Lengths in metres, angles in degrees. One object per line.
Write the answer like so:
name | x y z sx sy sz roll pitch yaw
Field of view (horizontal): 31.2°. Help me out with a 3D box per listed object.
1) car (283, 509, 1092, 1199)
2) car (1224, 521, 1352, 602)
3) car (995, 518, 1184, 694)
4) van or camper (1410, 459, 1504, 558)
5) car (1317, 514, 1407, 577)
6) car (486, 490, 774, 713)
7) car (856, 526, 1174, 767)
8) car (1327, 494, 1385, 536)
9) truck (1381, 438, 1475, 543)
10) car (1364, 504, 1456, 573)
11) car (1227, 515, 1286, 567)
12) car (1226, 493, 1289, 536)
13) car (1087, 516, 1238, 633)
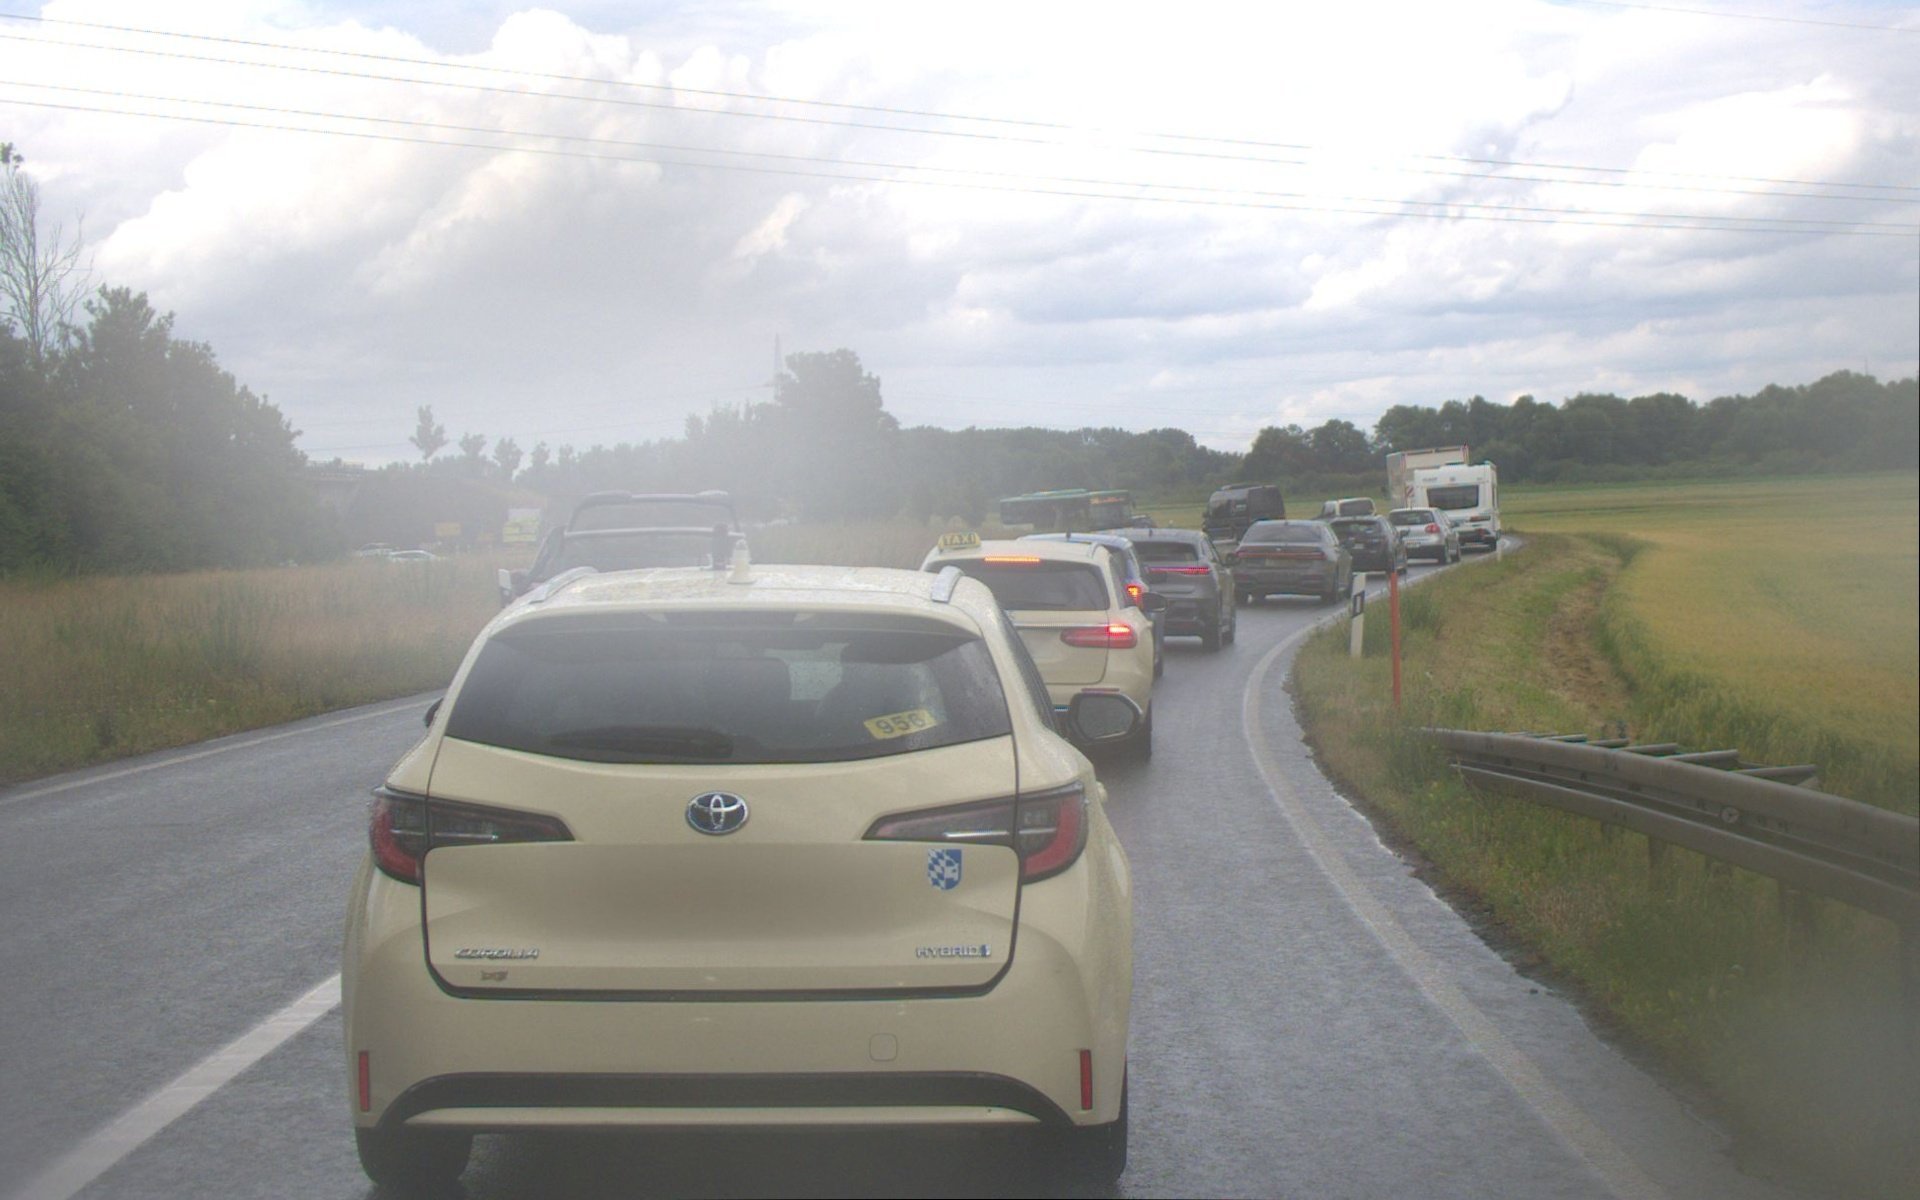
car | -0.586 0.586 8.785 1.613 1.557 3.739 1 0 -1
car | 5.963 -0.689 62.124 1.961 1.408 4.390 1 1 10
car | 1.340 0.040 34.307 1.613 1.653 3.737 1 0 6
van or camper | 15.085 -2.784 104.049 2.538 2.886 6.740 0 2 11
car | 9.229 -1.236 78.762 1.826 1.408 3.737 1 0 10
car | -2.881 -0.007 30.935 1.801 1.844 4.519 -1 0 5
car | 0.488 0.242 24.166 1.841 1.487 4.607 0 2 6
car | 17.457 -3.722 151.765 1.883 1.767 4.160 1 0 -3
truck | 17.922 -4.133 132.011 3.127 3.839 7.385 1 0 5
car | 11.709 -1.584 89.343 1.961 1.723 3.736 1 0 14
car | 11.848 -2.344 137.439 1.993 2.007 4.246 1 0 0
car | 14.388 -4.104 166.431 1.739 2.007 4.149 0 0 -14
car | 2.597 -0.323 43.443 1.613 1.408 3.737 1 0 8
